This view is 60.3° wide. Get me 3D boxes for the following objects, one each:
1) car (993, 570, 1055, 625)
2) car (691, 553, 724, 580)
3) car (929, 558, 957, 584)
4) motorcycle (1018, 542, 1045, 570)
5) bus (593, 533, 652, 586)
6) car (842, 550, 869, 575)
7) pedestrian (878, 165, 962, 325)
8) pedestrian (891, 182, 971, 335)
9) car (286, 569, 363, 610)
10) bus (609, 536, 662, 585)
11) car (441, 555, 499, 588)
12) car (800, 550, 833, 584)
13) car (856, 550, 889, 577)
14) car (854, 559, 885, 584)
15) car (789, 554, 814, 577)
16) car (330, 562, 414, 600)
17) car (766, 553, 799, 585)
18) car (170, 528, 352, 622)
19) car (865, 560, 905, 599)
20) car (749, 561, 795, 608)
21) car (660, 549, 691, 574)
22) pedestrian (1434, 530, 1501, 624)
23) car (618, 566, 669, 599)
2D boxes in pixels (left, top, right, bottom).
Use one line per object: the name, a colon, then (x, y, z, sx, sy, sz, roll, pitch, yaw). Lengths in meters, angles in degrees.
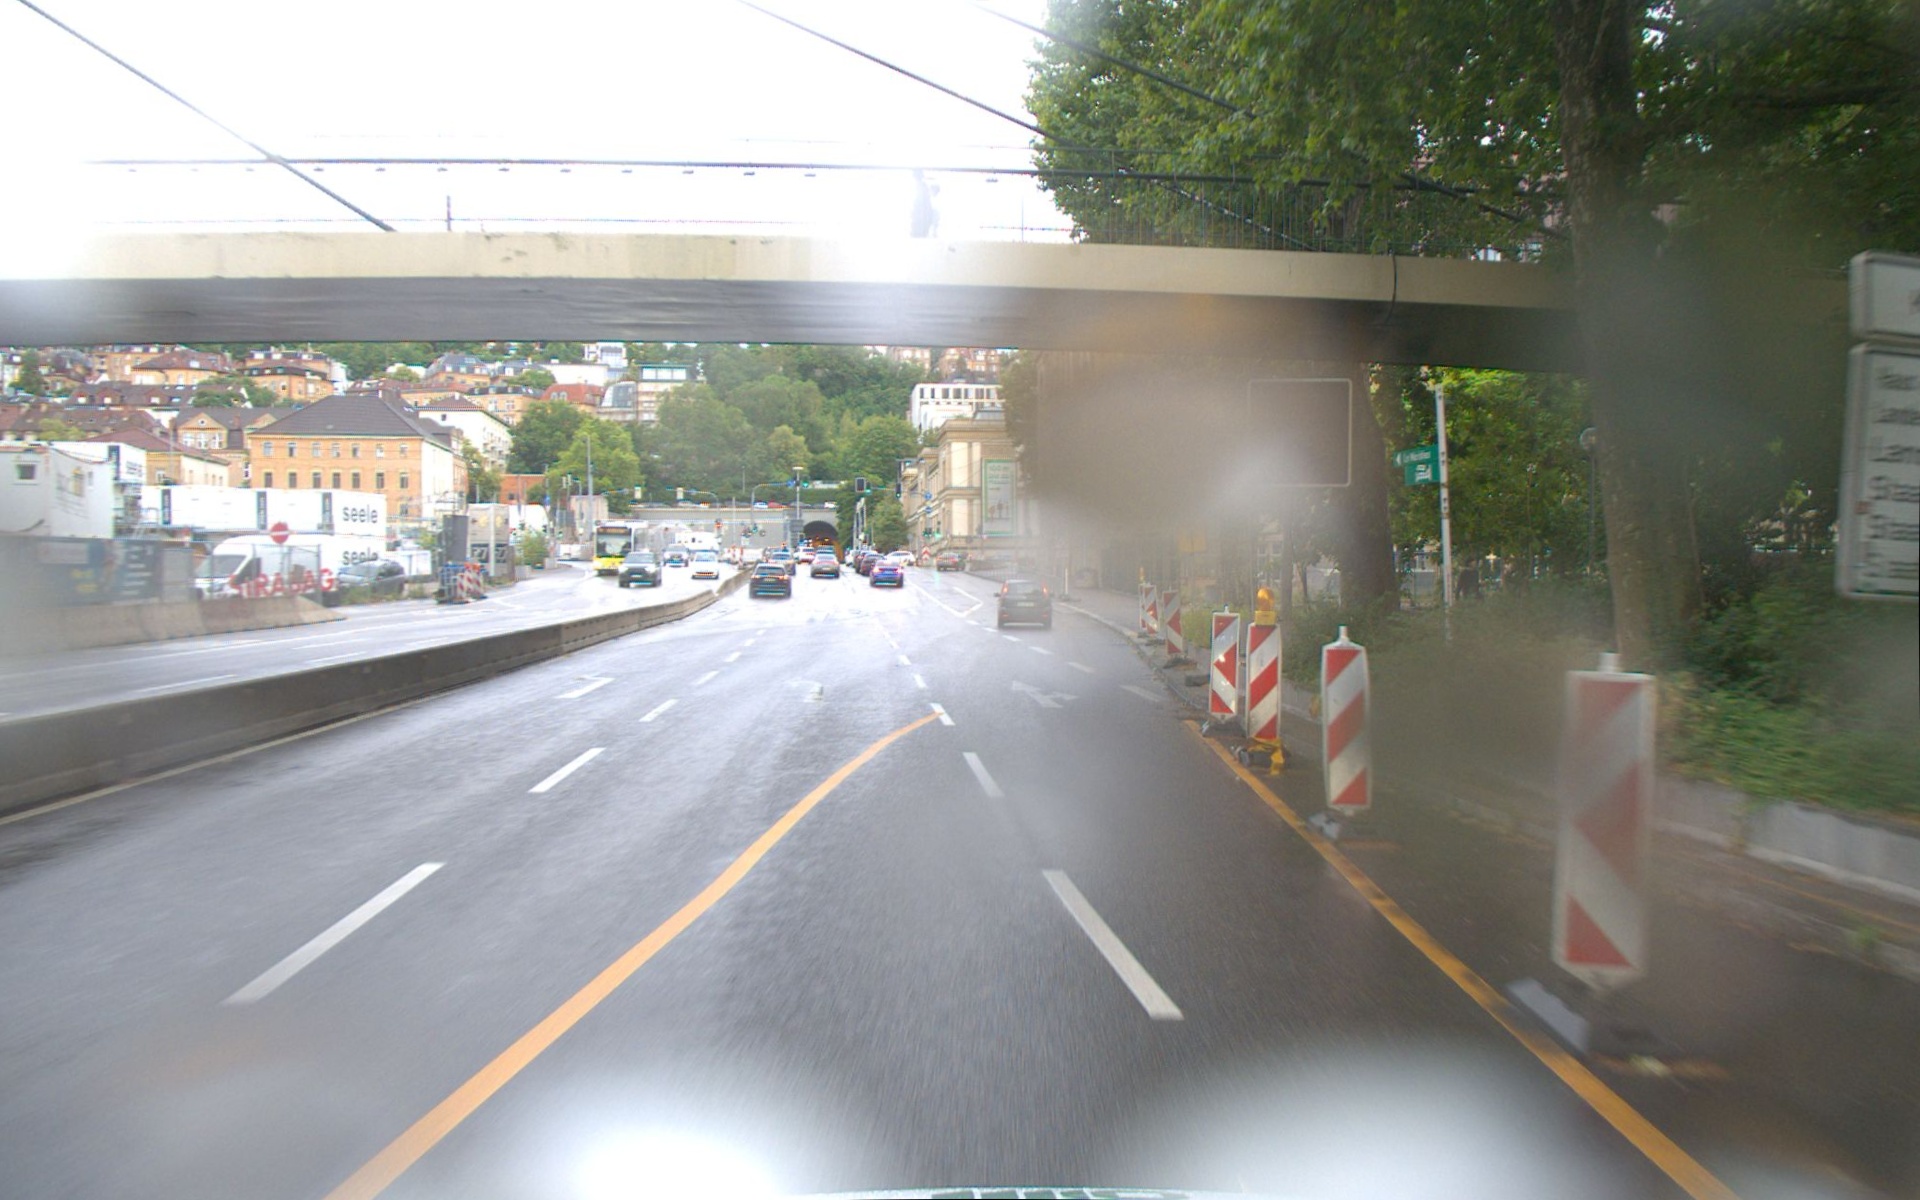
car: (1.985, -0.079, 50.347, 1.774, 1.553, 4.002, -1, 0, 3)
car: (-15.170, -1.980, 99.466, 1.675, 1.515, 3.447, -1, 0, -4)
car: (-1.418, -2.381, 136.006, 1.955, 2.049, 3.995, 0, 1, -6)
motorcycle: (5.326, -3.306, 123.606, 1.759, 2.048, 3.812, 0, 2, -2)
bus: (-21.496, -2.547, 105.781, 2.752, 3.240, 8.798, -1, 1, -5)
car: (-8.926, -3.182, 141.024, 1.956, 2.049, 3.992, -1, 0, -9)
pedestrian: (-0.583, -5.215, 24.418, 1.124, 2.096, 1.060, -1, 0, 3)
pedestrian: (-0.440, -5.230, 25.451, 1.124, 2.096, 1.060, -1, 0, 3)
car: (-26.146, -0.464, 68.172, 1.726, 1.592, 4.174, 0, 2, -3)
bus: (-22.439, -2.707, 114.753, 2.651, 3.206, 9.140, -1, 1, -5)
car: (-25.697, -1.526, 86.881, 1.953, 1.650, 4.000, 0, 2, -2)
car: (-9.269, -2.097, 106.918, 2.012, 2.049, 3.994, -1, 0, -6)
car: (-6.046, -2.532, 114.379, 1.956, 1.728, 3.993, -1, 0, -7)
car: (-6.644, -2.091, 121.055, 1.956, 1.728, 3.993, -1, 0, -7)
car: (-15.063, -3.269, 157.069, 2.249, 2.049, 4.596, -1, 0, -7)
car: (-25.954, -0.807, 73.178, 1.725, 1.593, 4.685, -1, 0, 4)
car: (-11.772, -2.036, 109.914, 1.954, 2.049, 3.998, -1, 0, -3)
car: (-23.356, -0.804, 55.577, 1.952, 2.925, 6.052, -1, 0, 21)
car: (-4.255, -1.135, 93.630, 2.064, 2.086, 3.995, -1, 0, -5)
car: (-8.581, -0.692, 75.634, 1.977, 2.049, 3.995, -1, 0, -5)
car: (-20.926, -2.816, 121.756, 2.000, 1.691, 4.925, -1, 0, -7)
pedestrian: (11.190, -0.516, 36.498, 1.042, 2.048, 1.024, -1, 1, -40)
car: (-16.545, -0.945, 86.719, 2.041, 1.659, 4.849, -1, 1, -4)
